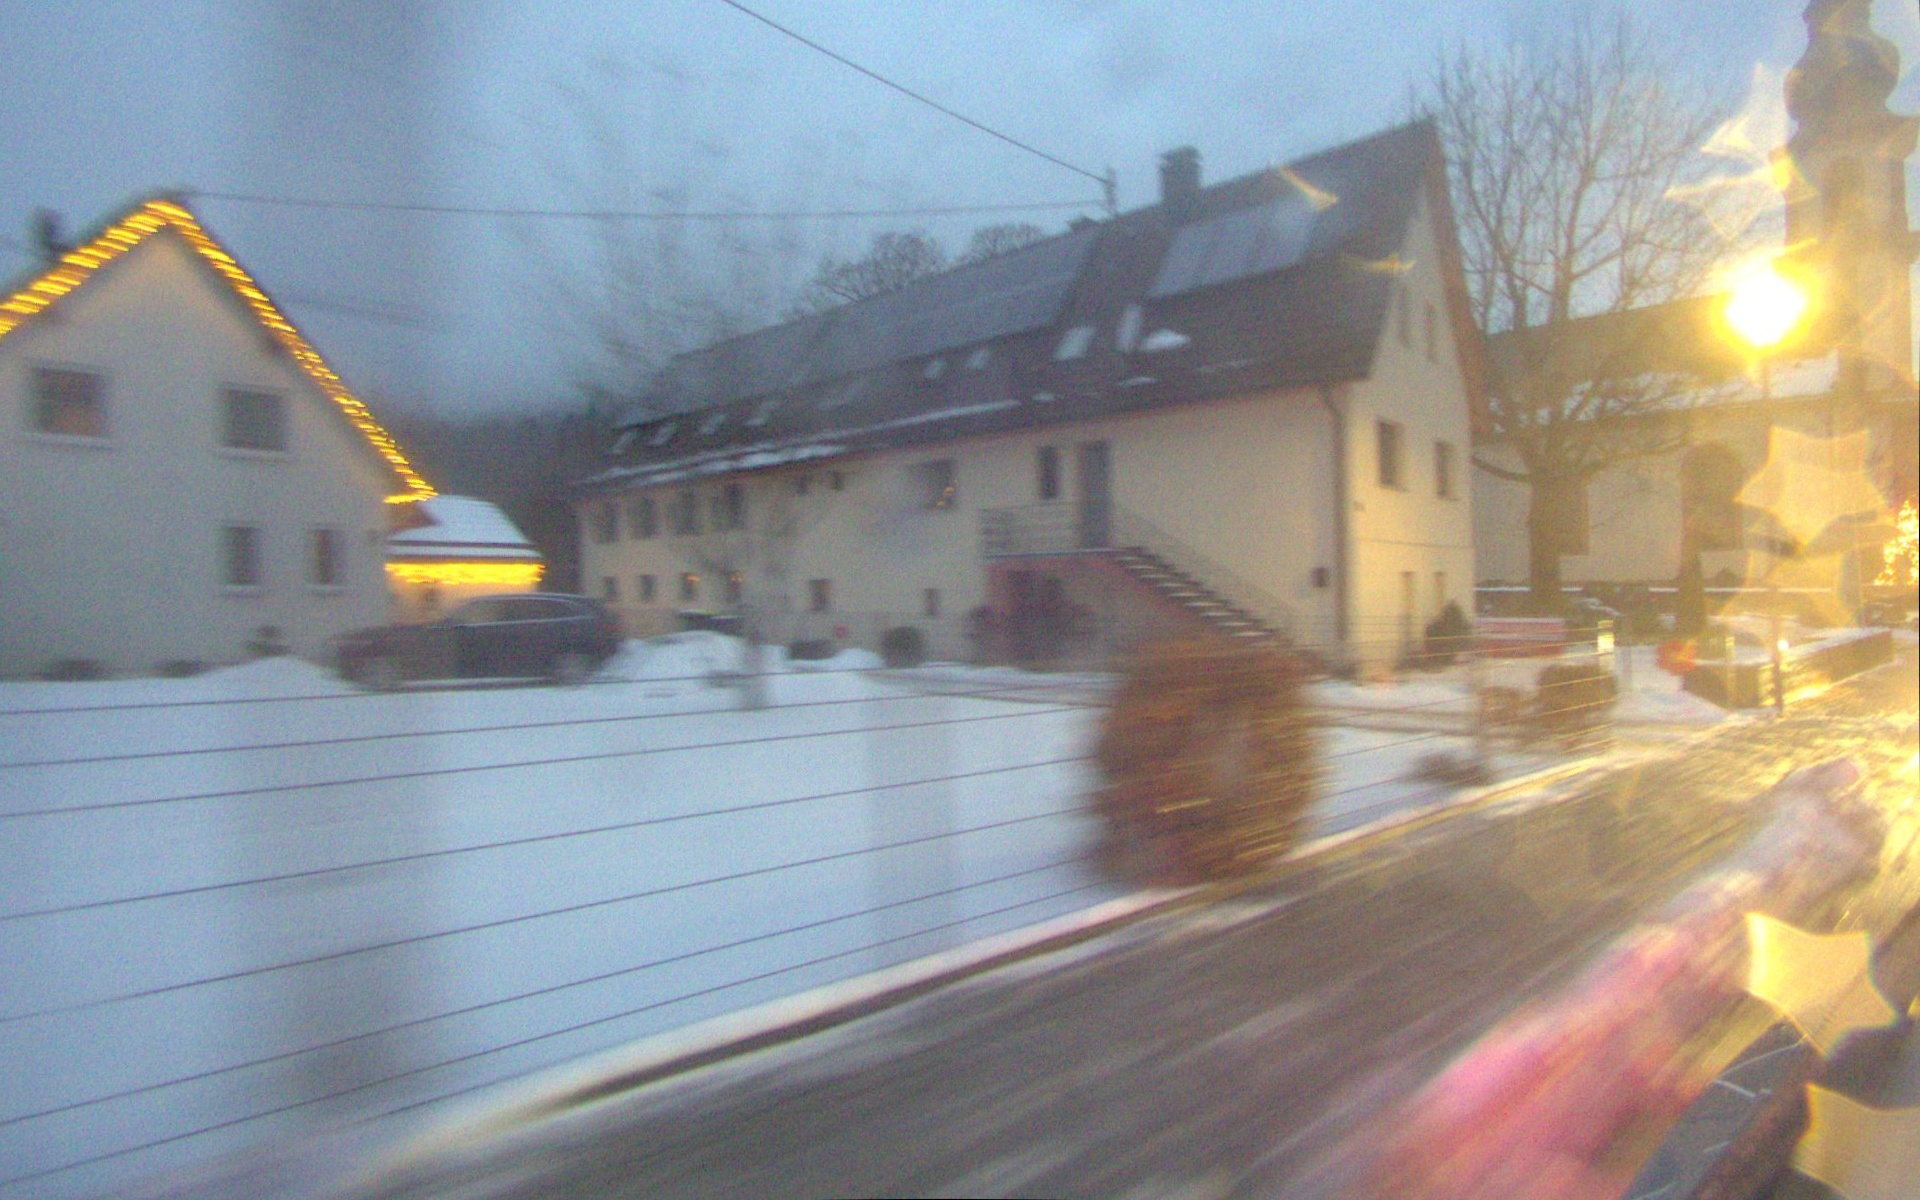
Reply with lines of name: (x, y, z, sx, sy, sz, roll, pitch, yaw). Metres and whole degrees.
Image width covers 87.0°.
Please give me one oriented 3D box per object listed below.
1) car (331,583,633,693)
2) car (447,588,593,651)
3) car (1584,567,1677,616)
car: (-8.198, 0.557, 17.618, 4.435, 1.629, 2.331, -2, 1, -27)
car: (-11.836, 0.474, 27.130, 4.074, 1.520, 2.023, 0, 1, 41)
car: (22.546, -0.344, 34.170, 1.735, 1.429, 4.055, 0, 3, 21)
